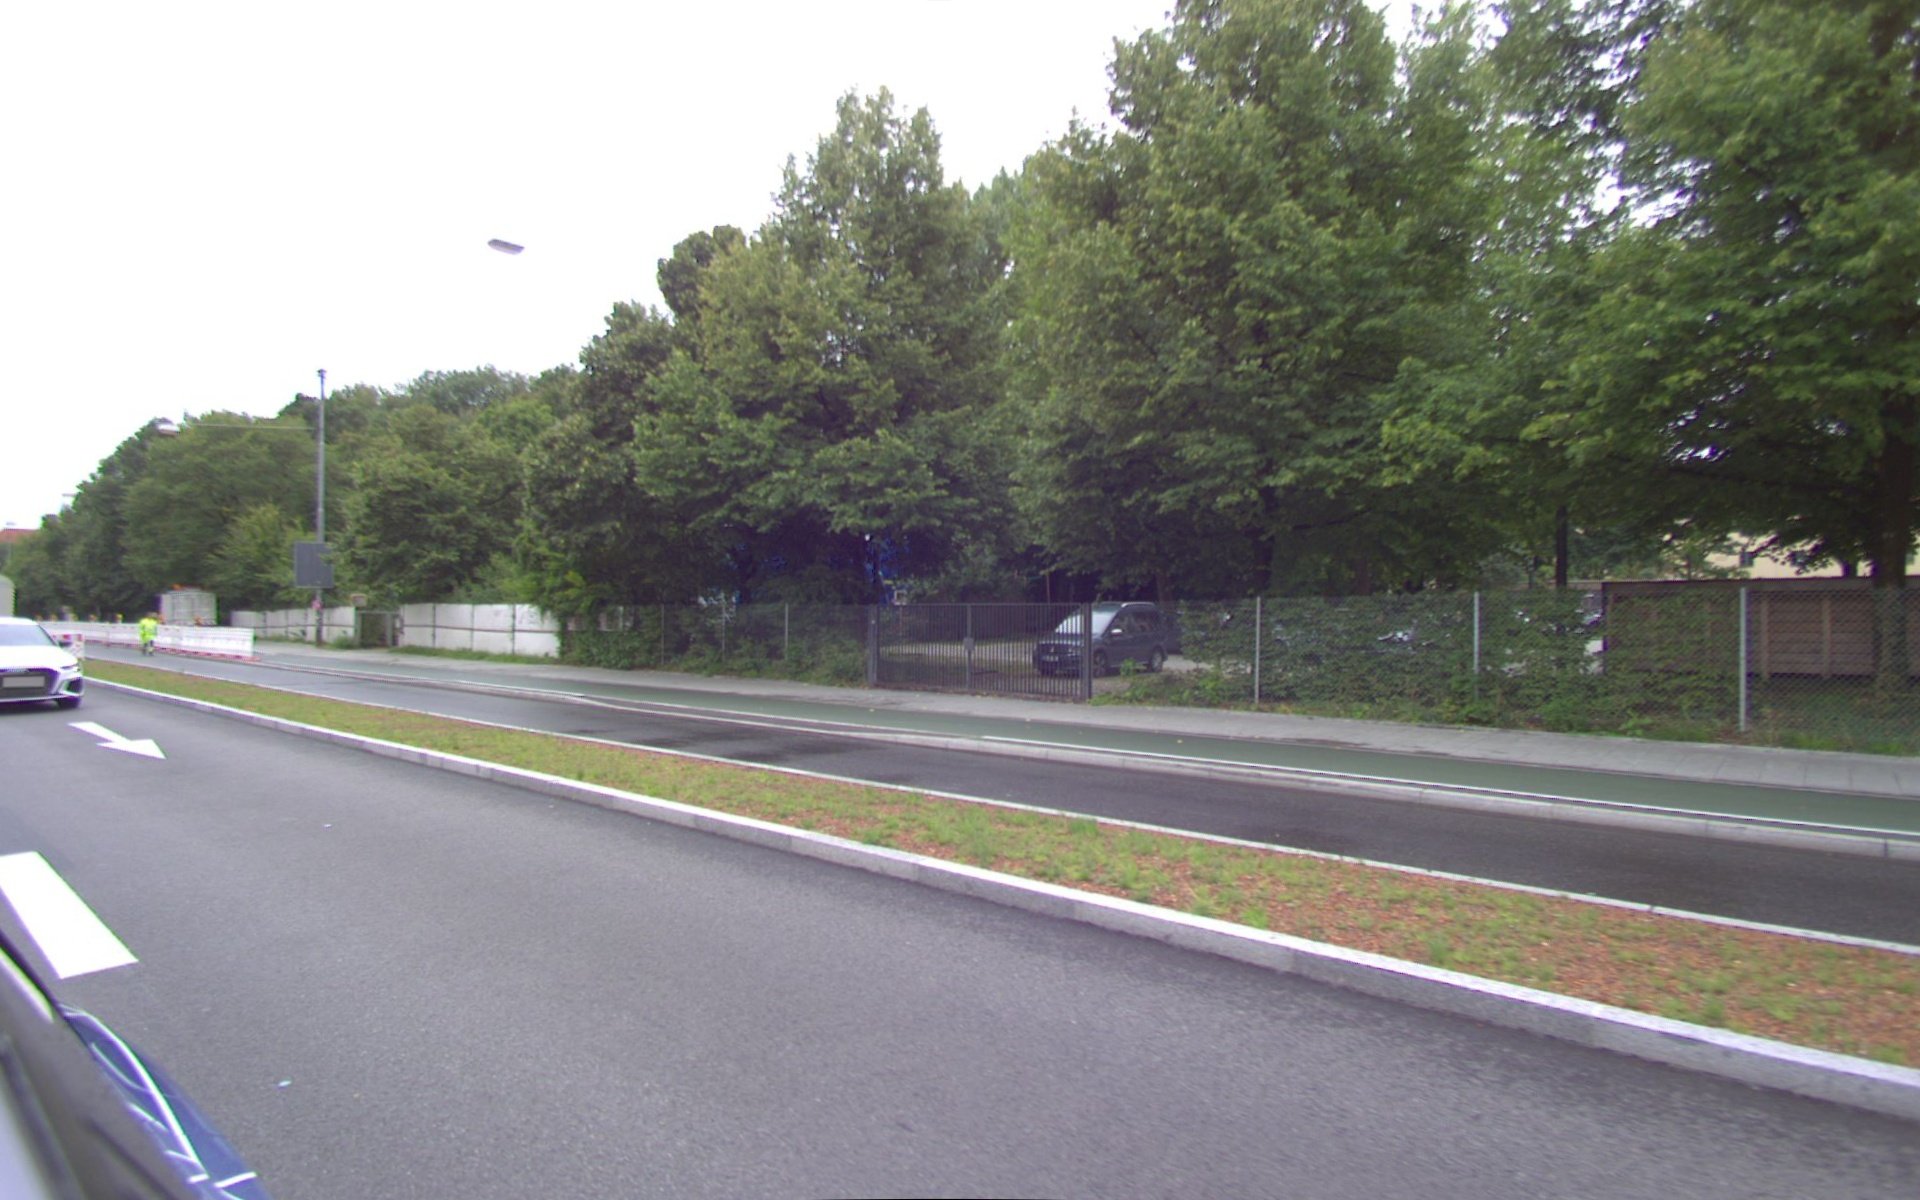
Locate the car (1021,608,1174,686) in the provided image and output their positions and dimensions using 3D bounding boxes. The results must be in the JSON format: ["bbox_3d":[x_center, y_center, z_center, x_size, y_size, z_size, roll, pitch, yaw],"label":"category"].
[{"bbox_3d":[3.572,1.124,25.896,1.877,1.722,3.981,2,2,45],"label":"car"}]

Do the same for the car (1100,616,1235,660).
[{"bbox_3d":[7.279,1.311,35.693,4.257,1.414,1.974,-1,0,39],"label":"car"}]

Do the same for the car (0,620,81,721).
[{"bbox_3d":[-15.503,1.056,15.946,4.448,1.435,1.795,-1,0,40],"label":"car"}]

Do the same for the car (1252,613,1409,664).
[{"bbox_3d":[11.666,1.184,31.973,4.257,1.459,1.974,-1,0,39],"label":"car"}]

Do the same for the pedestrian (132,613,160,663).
[{"bbox_3d":[-33.704,1.544,41.899,0.867,2.029,0.748,-1,-1,41],"label":"pedestrian"}]
